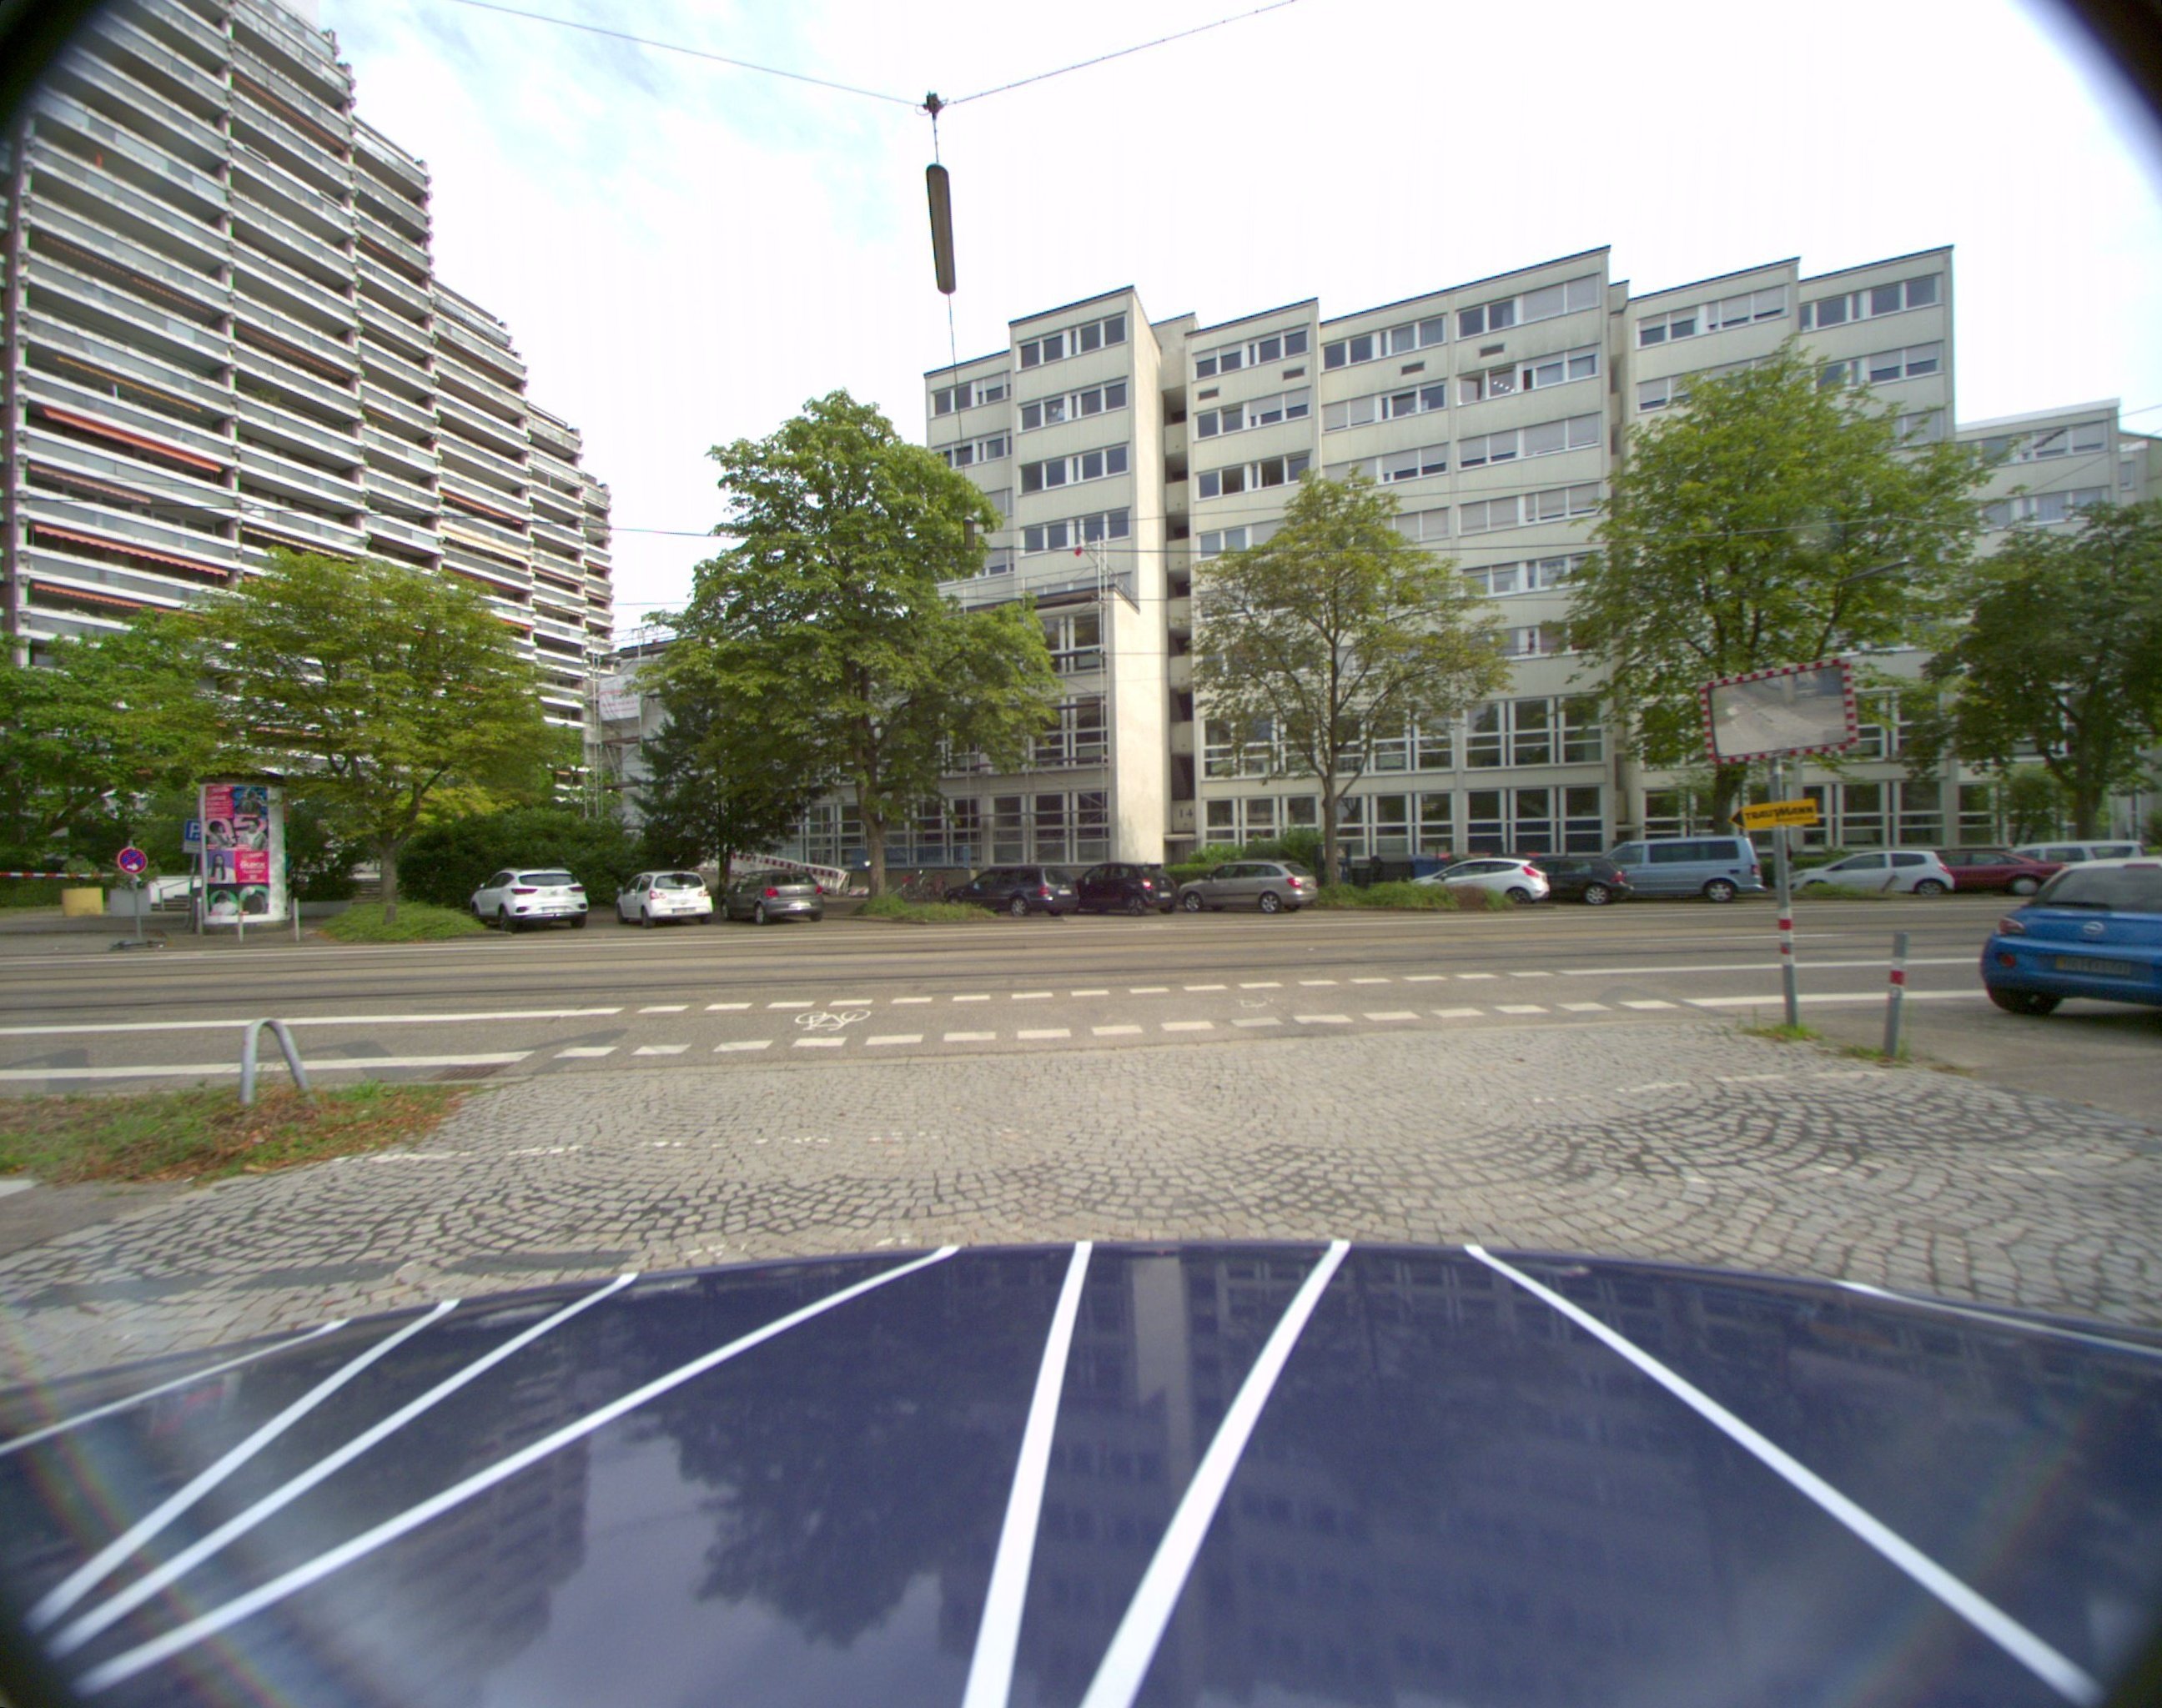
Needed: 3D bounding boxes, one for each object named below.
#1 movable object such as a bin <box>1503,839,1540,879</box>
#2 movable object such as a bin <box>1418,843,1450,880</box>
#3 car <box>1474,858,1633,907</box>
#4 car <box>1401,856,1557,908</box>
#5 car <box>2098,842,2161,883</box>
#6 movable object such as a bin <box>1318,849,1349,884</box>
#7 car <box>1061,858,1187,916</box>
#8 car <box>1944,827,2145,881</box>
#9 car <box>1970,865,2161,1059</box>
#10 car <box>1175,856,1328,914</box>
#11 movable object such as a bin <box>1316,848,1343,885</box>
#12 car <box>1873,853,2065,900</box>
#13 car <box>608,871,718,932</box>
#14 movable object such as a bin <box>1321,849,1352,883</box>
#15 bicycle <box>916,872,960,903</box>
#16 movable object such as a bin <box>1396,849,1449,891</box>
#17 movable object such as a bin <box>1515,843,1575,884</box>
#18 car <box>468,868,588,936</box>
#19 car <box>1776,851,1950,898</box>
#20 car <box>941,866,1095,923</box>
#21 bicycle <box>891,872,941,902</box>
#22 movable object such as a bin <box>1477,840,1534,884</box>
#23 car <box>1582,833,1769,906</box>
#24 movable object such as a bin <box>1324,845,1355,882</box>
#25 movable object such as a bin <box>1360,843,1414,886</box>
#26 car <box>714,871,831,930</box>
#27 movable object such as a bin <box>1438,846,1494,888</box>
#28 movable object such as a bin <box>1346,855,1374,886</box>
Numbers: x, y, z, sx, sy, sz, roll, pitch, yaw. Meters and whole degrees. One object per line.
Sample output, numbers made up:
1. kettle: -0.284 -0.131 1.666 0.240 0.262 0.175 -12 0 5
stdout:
1. movable object such as a bin: 17.894 0.199 30.890 1.172 1.559 1.182 -1 0 23
2. movable object such as a bin: 14.900 0.316 32.085 1.172 1.505 1.182 -1 0 23
3. car: 14.526 0.866 23.449 3.961 1.379 1.819 -2 -1 39
4. car: 11.805 0.804 22.647 3.851 1.385 1.637 -1 0 38
5. car: 37.250 0.259 25.364 3.635 1.322 1.771 -2 0 39
6. movable object such as a bin: 10.165 0.496 30.585 1.116 1.383 1.064 -1 0 16
7. car: 1.218 0.928 22.296 3.408 1.528 1.599 -1 0 42
8. car: 30.690 0.015 24.400 3.759 1.609 1.818 -1 1 43
9. car: 10.167 0.837 6.457 3.601 1.456 1.632 -1 0 -6
10. car: 4.927 0.866 22.196 4.041 1.528 1.599 -2 0 39
11. movable object such as a bin: 9.604 0.480 29.372 0.910 1.398 1.025 -1 0 16
12. car: 27.881 0.688 24.061 3.759 1.331 1.818 -2 0 43
13. car: -11.564 1.246 20.942 1.685 1.466 3.636 -2 1 -44
14. movable object such as a bin: 10.687 0.486 31.819 1.177 1.362 1.176 -1 0 16
15. bicycle: -5.291 1.223 28.258 0.593 1.037 1.981 -1 0 23
16. movable object such as a bin: 12.723 0.568 28.343 1.337 1.495 1.335 -1 0 -1
17. movable object such as a bin: 17.348 0.351 28.455 1.399 1.450 1.335 -1 0 -1
18. car: -14.776 1.225 20.236 3.636 1.593 1.685 -2 1 40
19. car: 24.567 0.637 24.065 3.635 1.322 1.771 -2 0 39
20. car: -1.849 1.121 21.757 4.158 1.407 1.820 -2 0 36
21. bicycle: -6.161 1.213 28.509 0.593 1.037 1.982 -1 0 32
22. movable object such as a bin: 15.801 0.302 28.340 1.353 1.586 1.335 -1 0 -1
23. car: 18.108 0.460 23.322 4.334 2.052 2.004 -1 0 39
24. movable object such as a bin: 11.234 0.423 33.082 1.177 1.559 1.176 -1 0 16
25. movable object such as a bin: 11.294 0.369 28.063 1.415 1.520 1.330 -1 0 -1
26. car: -8.591 1.216 21.027 1.685 1.411 3.636 -2 1 -44
27. movable object such as a bin: 14.327 0.478 28.312 1.353 1.493 1.335 -1 0 -1
28. movable object such as a bin: 10.147 0.604 27.656 0.742 1.099 0.786 -1 0 0
